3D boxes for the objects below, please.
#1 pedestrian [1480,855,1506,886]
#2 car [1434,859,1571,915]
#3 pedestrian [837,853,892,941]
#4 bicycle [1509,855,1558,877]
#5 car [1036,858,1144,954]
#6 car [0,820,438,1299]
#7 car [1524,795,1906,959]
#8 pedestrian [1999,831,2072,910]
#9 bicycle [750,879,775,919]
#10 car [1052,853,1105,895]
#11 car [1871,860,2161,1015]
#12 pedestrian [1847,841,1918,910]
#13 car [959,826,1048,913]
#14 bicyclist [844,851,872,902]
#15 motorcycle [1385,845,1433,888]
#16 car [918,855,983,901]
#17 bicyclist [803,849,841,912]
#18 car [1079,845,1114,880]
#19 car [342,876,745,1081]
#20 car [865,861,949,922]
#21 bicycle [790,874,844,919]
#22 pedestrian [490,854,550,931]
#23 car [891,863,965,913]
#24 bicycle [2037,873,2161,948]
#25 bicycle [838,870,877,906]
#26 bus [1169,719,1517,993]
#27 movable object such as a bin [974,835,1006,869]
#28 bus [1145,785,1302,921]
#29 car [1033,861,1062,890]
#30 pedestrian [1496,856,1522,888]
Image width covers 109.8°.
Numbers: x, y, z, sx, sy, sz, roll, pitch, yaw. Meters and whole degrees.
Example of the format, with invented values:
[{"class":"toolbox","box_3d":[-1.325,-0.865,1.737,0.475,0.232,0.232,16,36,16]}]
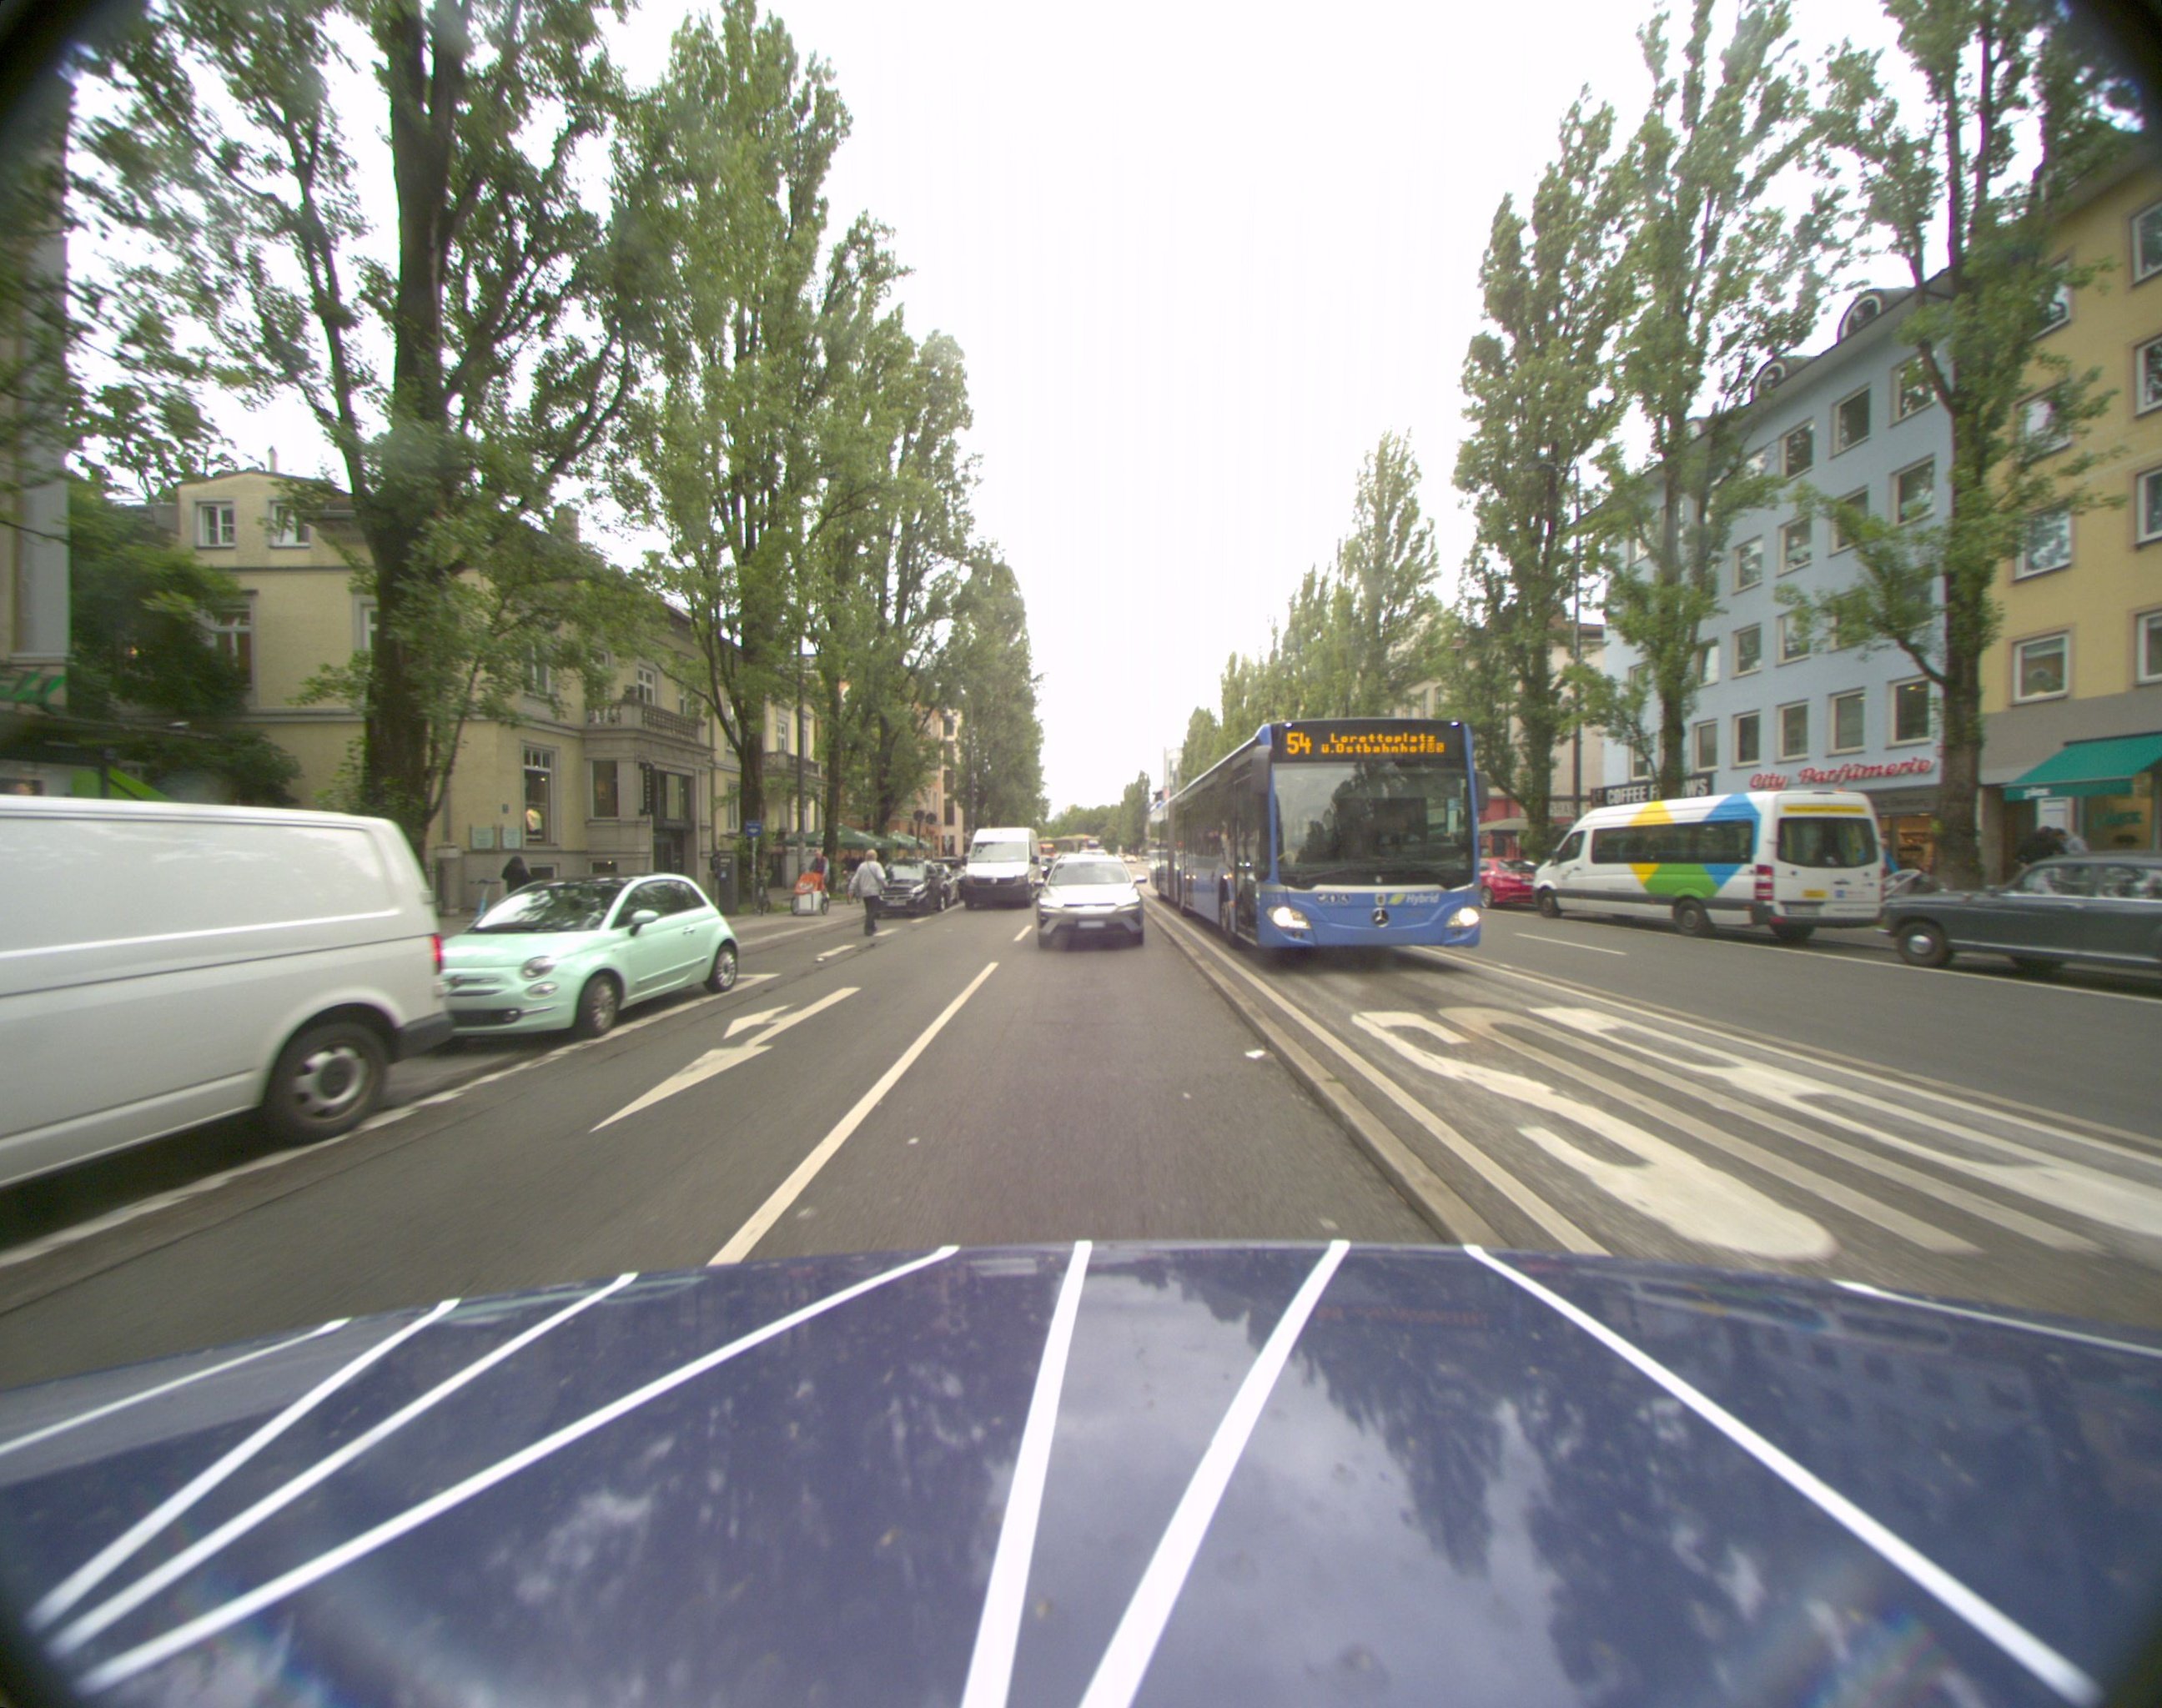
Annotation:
[{"class":"pedestrian","box_3d":[18.337,0.735,33.847,0.699,1.354,0.950,0,1,4]},{"class":"car","box_3d":[12.168,0.886,22.253,1.741,1.411,4.148,1,0,1]},{"class":"pedestrian","box_3d":[-4.464,0.868,15.732,0.829,1.763,0.871,-1,1,2]},{"class":"bicycle","box_3d":[25.179,0.674,42.262,2.346,1.197,0.646,0,1,-1]},{"class":"car","box_3d":[0.164,0.877,14.708,1.742,1.510,4.033,-2,0,0]},{"class":"car","box_3d":[-5.286,0.849,2.749,1.792,1.935,4.730,-1,0,1]},{"class":"car","box_3d":[11.991,0.346,15.422,2.010,2.553,6.912,1,0,1]},{"class":"pedestrian","box_3d":[20.263,0.344,16.143,0.698,1.626,0.728,0,1,25]},{"class":"bicycle","box_3d":[-8.678,1.194,20.661,0.510,0.988,1.624,-1,1,-26]},{"class":"car","box_3d":[-0.182,0.778,31.683,1.883,1.582,4.190,-2,0,-4]},{"class":"car","box_3d":[11.951,0.878,8.395,1.871,1.543,4.414,1,0,1]},{"class":"pedestrian","box_3d":[19.328,0.505,18.342,0.949,1.637,0.700,0,1,5]},{"class":"car","box_3d":[-2.397,0.439,25.527,2.068,2.478,6.730,-1,0,1]},{"class":"bicyclist","box_3d":[-7.534,0.753,25.691,0.741,1.677,0.748,-1,1,-2]},{"class":"motorcycle","box_3d":[12.543,0.439,28.988,2.352,1.554,0.713,-2,1,-41]},{"class":"car","box_3d":[-5.127,0.879,30.324,1.808,1.628,4.446,-2,0,0]},{"class":"bicyclist","box_3d":[-7.328,0.739,21.524,0.830,1.747,0.667,1,1,-2]},{"class":"car","box_3d":[0.864,0.452,44.262,1.839,1.831,5.129,-2,1,0]},{"class":"car","box_3d":[-5.095,1.057,7.866,1.545,1.484,3.523,-1,1,2]},{"class":"car","box_3d":[-4.764,0.984,21.141,1.596,1.509,2.729,-2,0,1]},{"class":"bicycle","box_3d":[-7.330,1.155,21.206,0.887,1.113,2.101,0,0,-3]},{"class":"pedestrian","box_3d":[-11.951,0.799,16.203,0.618,1.596,0.870,1,1,-2]},{"class":"car","box_3d":[-4.927,1.041,24.989,1.714,1.385,4.342,-2,0,-3]},{"class":"bicycle","box_3d":[16.915,0.910,12.329,1.873,1.089,0.622,-3,1,4]},{"class":"bicycle","box_3d":[-7.527,1.128,25.647,0.737,1.113,2.101,-1,0,-2]},{"class":"bus","box_3d":[3.414,0.000,13.211,2.696,2.932,10.052,-1,0,1]},{"class":"movable object such as a bin","box_3d":[-8.612,-0.155,72.369,2.445,3.119,4.543,1,0,1]},{"class":"bus","box_3d":[3.529,-0.038,21.585,2.690,2.932,10.052,-1,0,1]},{"class":"car","box_3d":[-2.214,1.368,49.971,1.707,1.683,4.002,-3,0,-3]},{"class":"pedestrian","box_3d":[18.213,0.750,32.340,0.699,1.354,0.819,0,1,4]}]
